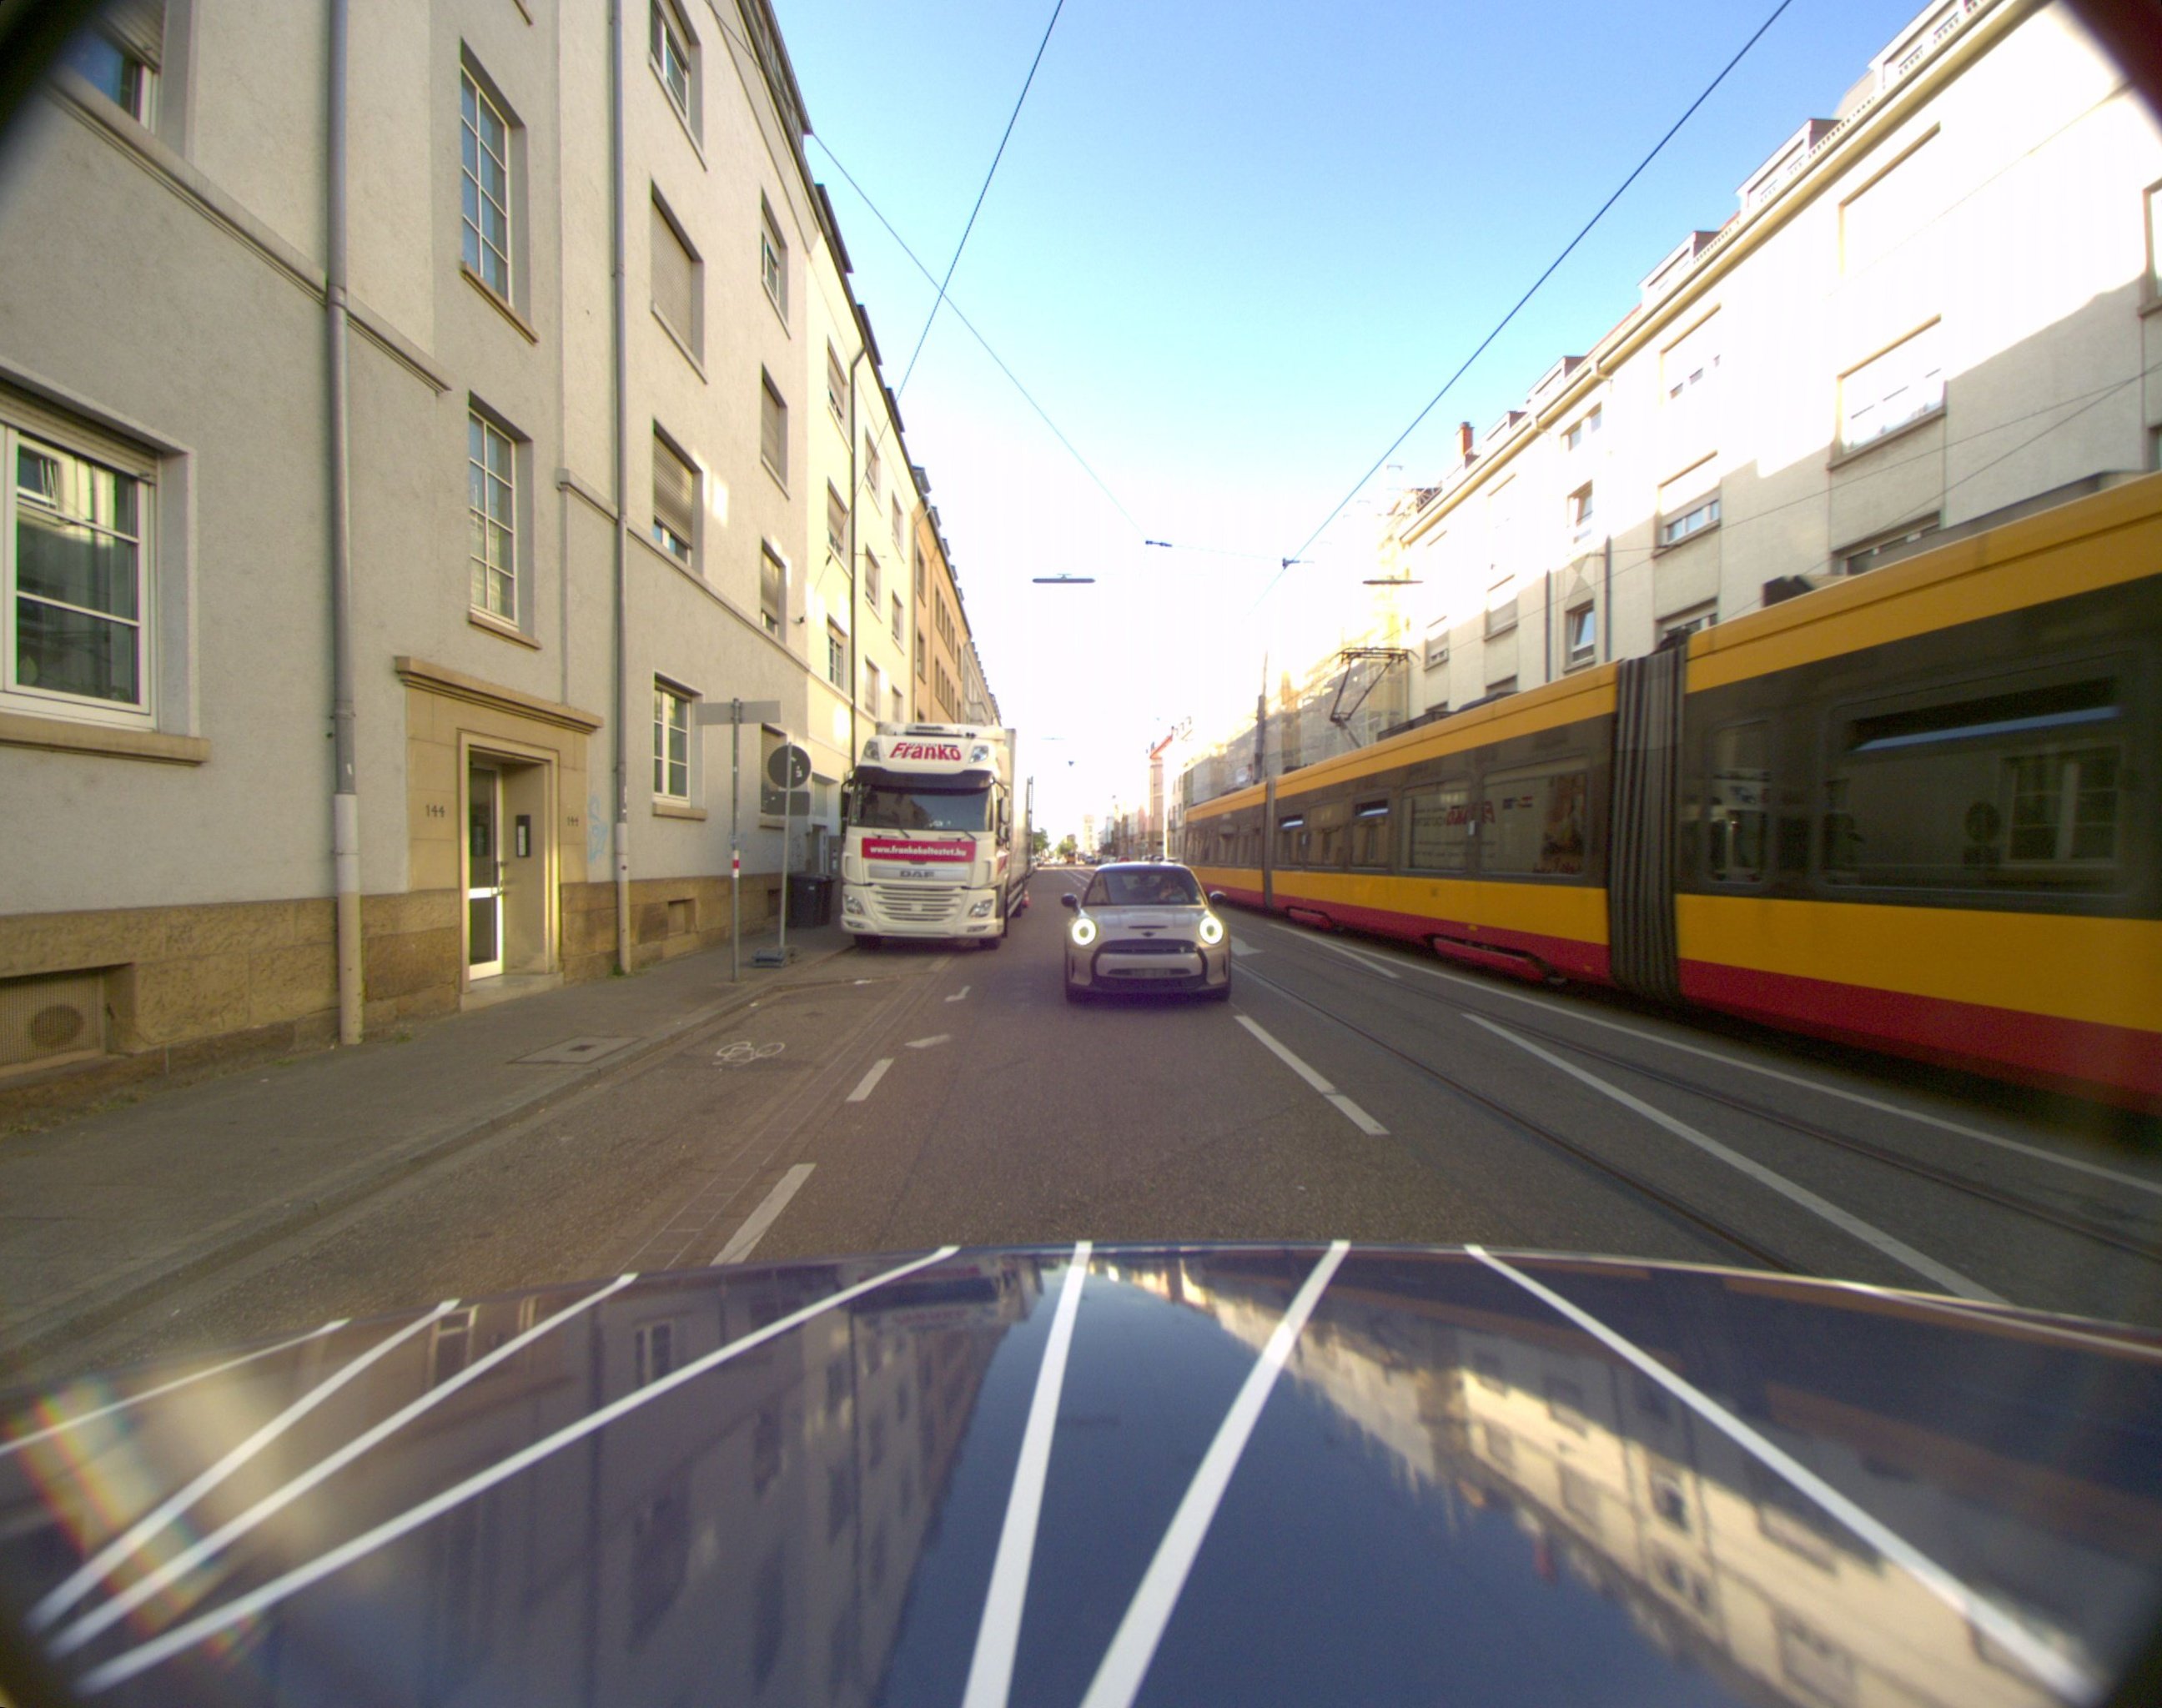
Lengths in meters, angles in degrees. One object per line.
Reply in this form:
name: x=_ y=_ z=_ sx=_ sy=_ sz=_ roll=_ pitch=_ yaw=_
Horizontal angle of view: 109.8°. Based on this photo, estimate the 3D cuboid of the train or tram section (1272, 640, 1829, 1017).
train or tram section: x=5.800 y=-0.288 z=12.017 sx=2.833 sy=3.610 sz=9.081 roll=-2 pitch=1 yaw=-2

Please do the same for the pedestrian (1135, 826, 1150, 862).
pedestrian: x=7.660 y=-1.295 z=94.456 sx=1.723 sy=4.377 sz=1.153 roll=-2 pitch=1 yaw=2

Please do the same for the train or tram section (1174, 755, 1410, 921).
train or tram section: x=5.397 y=-0.383 z=22.929 sx=3.070 sy=3.573 sz=12.626 roll=1 pitch=0 yaw=-2

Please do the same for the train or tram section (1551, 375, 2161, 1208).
train or tram section: x=6.201 y=-0.267 z=0.170 sx=2.752 sy=3.611 sz=14.259 roll=-2 pitch=1 yaw=-2

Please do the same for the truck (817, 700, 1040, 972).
truck: x=-2.573 y=-0.256 z=17.138 sx=2.899 sy=3.939 sz=11.704 roll=-2 pitch=0 yaw=-2

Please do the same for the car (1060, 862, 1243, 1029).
car: x=0.651 y=0.867 z=9.032 sx=1.692 sy=1.495 sz=4.000 roll=0 pitch=0 yaw=0

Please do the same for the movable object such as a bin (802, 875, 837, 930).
movable object such as a bin: x=-5.366 y=0.986 z=15.613 sx=0.512 sy=1.085 sz=0.495 roll=-2 pitch=1 yaw=-4

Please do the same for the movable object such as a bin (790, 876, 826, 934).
movable object such as a bin: x=-5.385 y=0.998 z=14.990 sx=0.512 sy=1.085 sz=0.495 roll=-2 pitch=1 yaw=-4

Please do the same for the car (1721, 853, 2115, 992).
car: x=11.447 y=0.810 z=10.787 sx=1.670 sy=1.563 sz=3.496 roll=-2 pitch=1 yaw=-2

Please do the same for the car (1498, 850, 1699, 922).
car: x=10.786 y=0.595 z=16.166 sx=1.751 sy=1.269 sz=3.488 roll=-2 pitch=1 yaw=-4

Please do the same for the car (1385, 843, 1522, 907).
car: x=10.451 y=0.515 z=21.682 sx=1.712 sy=1.582 sz=4.112 roll=-2 pitch=1 yaw=-3
